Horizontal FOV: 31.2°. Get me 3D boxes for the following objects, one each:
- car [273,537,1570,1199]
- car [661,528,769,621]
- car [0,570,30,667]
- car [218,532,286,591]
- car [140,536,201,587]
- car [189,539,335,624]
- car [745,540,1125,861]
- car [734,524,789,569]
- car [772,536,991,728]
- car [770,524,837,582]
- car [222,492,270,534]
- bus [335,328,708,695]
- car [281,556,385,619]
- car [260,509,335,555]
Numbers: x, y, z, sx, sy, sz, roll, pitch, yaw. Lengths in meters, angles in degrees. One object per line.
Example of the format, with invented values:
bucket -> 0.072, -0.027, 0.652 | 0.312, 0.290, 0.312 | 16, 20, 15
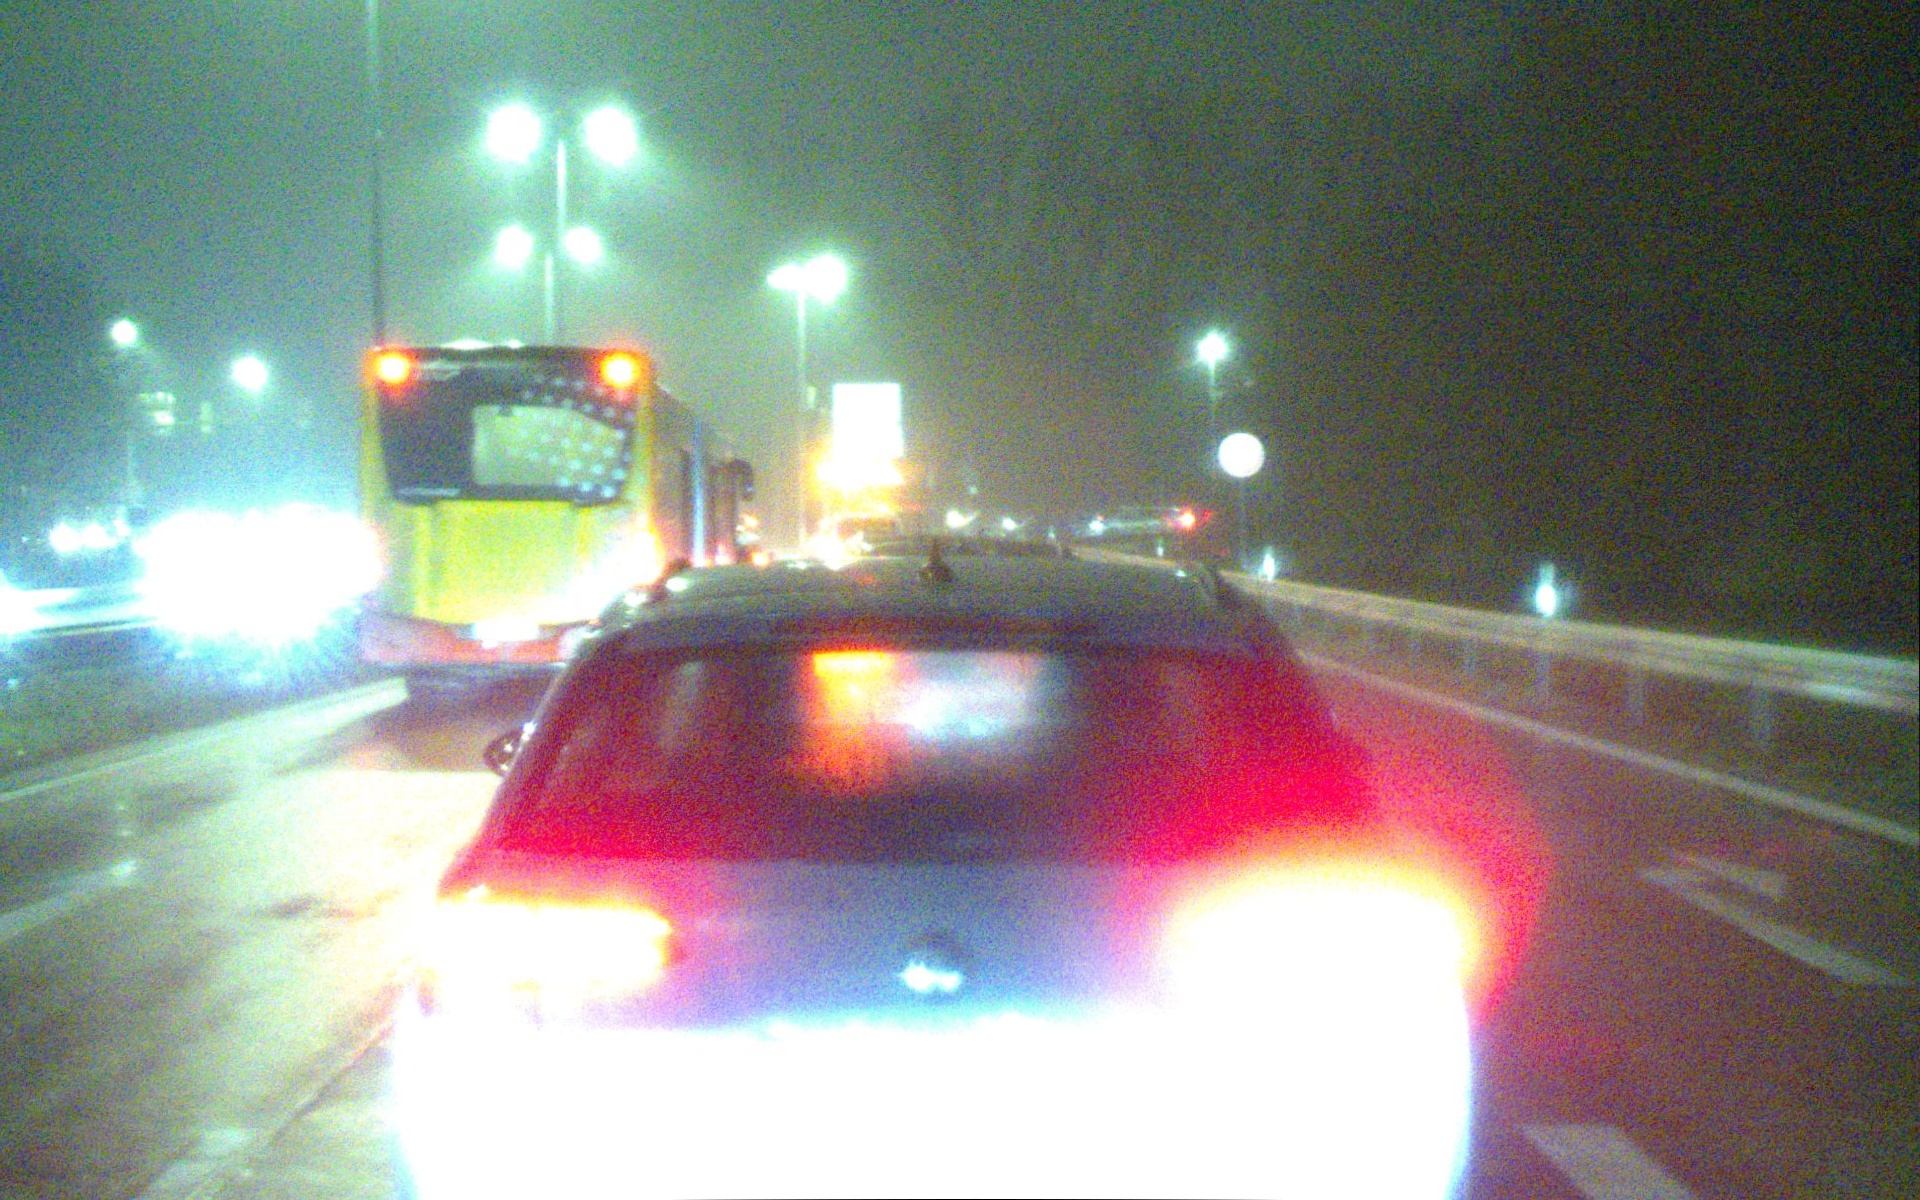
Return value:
car -> -0.071, 0.618, 7.127 | 1.821, 1.479, 4.568 | 0, 1, 0
car -> -4.208, -0.461, 59.405 | 1.779, 1.538, 3.875 | 0, 1, -3
car -> -14.791, 0.331, 49.546 | 1.610, 1.377, 4.164 | -3, 1, 0
car -> -25.091, -1.362, 121.917 | 1.993, 2.007, 4.001 | 1, 1, -7
car -> -32.046, -1.565, 139.561 | 1.993, 2.007, 4.001 | 1, 1, -7
car -> -12.032, -0.343, 59.488 | 1.610, 1.377, 4.746 | 0, 1, -1
car -> -0.210, 0.423, 18.118 | 1.731, 1.444, 4.725 | 0, 1, -2
car -> -6.978, -1.884, 121.203 | 1.779, 1.538, 3.875 | 0, 1, -1
car -> -0.747, 0.232, 30.202 | 1.739, 1.559, 3.777 | 0, 1, -4
car -> -4.439, -1.336, 97.151 | 1.819, 1.585, 3.777 | -1, 1, -3
car -> -35.174, -4.259, 169.283 | 2.120, 2.007, 4.001 | 1, 1, -14
bus -> -3.937, -0.816, 32.737 | 2.815, 3.013, 8.688 | 0, 1, -3
car -> -15.896, -0.341, 87.341 | 1.856, 1.471, 4.779 | -1, 1, -1
car -> -29.640, -3.037, 153.765 | 1.993, 2.007, 4.000 | 0, 1, -32
